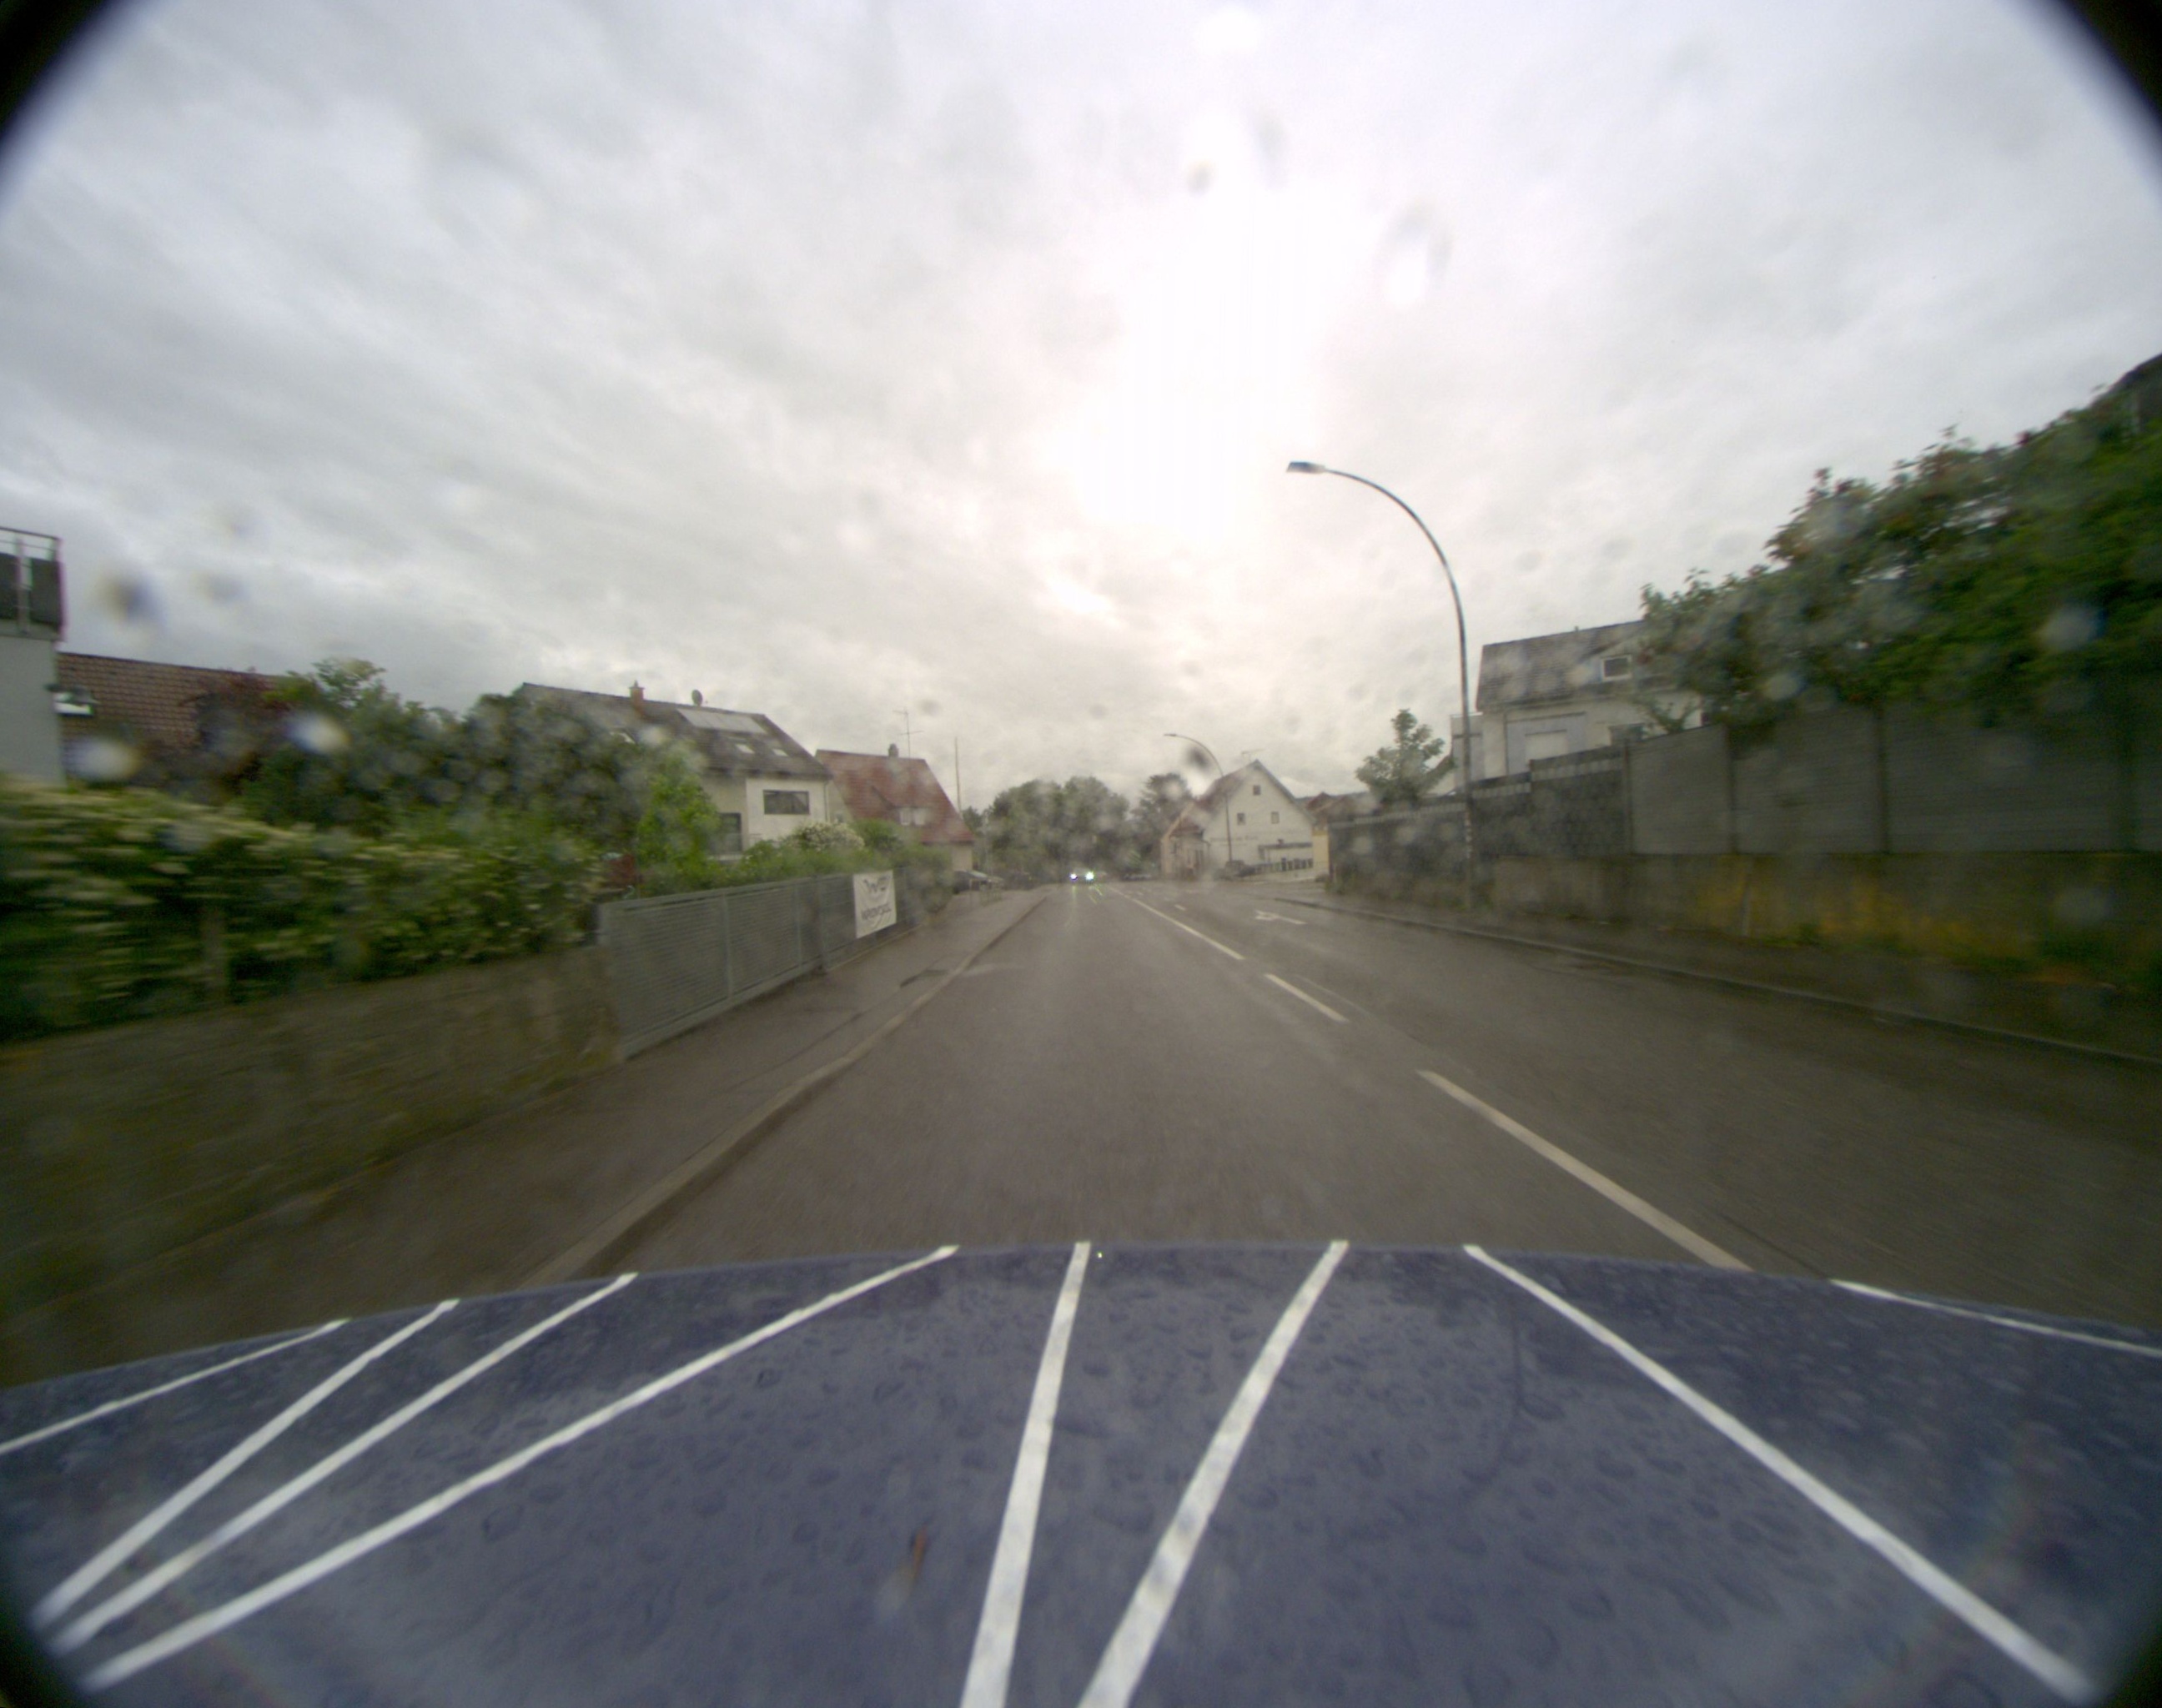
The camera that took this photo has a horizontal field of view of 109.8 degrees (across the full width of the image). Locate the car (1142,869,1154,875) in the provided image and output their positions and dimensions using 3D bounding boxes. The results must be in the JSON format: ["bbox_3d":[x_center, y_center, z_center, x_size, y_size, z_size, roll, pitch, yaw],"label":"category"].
[{"bbox_3d":[15.110,4.091,171.364,1.761,1.410,4.160,-1,-1,19],"label":"car"}]

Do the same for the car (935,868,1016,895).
[{"bbox_3d":[-6.634,1.698,47.657,4.563,1.375,2.003,-4,-2,20],"label":"car"}]

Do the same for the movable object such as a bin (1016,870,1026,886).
[{"bbox_3d":[-3.950,1.605,50.351,0.443,1.015,0.525,-1,-1,25],"label":"movable object such as a bin"}]

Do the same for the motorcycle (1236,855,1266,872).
[{"bbox_3d":[13.428,0.737,59.952,2.113,1.107,0.781,-6,0,17],"label":"motorcycle"}]

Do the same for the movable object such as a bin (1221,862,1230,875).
[{"bbox_3d":[11.979,1.195,63.068,0.639,1.026,0.605,-1,-1,14],"label":"movable object such as a bin"}]

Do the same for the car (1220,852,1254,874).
[{"bbox_3d":[11.866,0.680,57.654,1.904,1.433,3.834,-5,-2,19],"label":"car"}]

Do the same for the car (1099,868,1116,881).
[{"bbox_3d":[3.235,2.477,91.309,1.948,1.564,4.228,-2,-2,2],"label":"car"}]

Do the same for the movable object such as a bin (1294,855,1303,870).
[{"bbox_3d":[17.576,0.691,61.344,0.639,1.123,0.605,-4,-1,14],"label":"movable object such as a bin"}]

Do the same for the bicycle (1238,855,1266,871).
[{"bbox_3d":[13.652,0.722,60.680,2.101,1.107,0.738,-6,1,17],"label":"bicycle"}]

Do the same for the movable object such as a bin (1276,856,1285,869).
[{"bbox_3d":[16.206,0.708,61.766,0.639,1.026,0.605,-4,-1,13],"label":"movable object such as a bin"}]

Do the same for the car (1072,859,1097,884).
[{"bbox_3d":[0.297,1.505,66.077,1.999,2.001,4.000,-2,-1,-1],"label":"car"}]

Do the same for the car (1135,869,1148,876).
[{"bbox_3d":[13.264,4.004,166.354,1.761,1.410,4.160,-1,-1,21],"label":"car"}]

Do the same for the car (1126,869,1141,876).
[{"bbox_3d":[11.092,3.891,160.724,1.996,1.410,4.492,-1,-2,20],"label":"car"}]

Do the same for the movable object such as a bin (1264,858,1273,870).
[{"bbox_3d":[15.372,0.824,62.259,0.639,1.026,0.605,-1,-1,14],"label":"movable object such as a bin"}]

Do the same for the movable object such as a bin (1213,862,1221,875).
[{"bbox_3d":[11.317,1.226,63.246,0.639,1.026,0.674,-1,-1,14],"label":"movable object such as a bin"}]

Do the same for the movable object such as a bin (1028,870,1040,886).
[{"bbox_3d":[-3.147,1.576,50.402,0.530,1.015,0.734,-1,-1,19],"label":"movable object such as a bin"}]

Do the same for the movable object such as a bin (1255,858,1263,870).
[{"bbox_3d":[14.615,0.810,62.436,0.639,1.026,0.605,-1,-1,14],"label":"movable object such as a bin"}]

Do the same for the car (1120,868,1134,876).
[{"bbox_3d":[9.400,3.723,155.560,1.791,1.523,3.806,-1,-1,20],"label":"car"}]

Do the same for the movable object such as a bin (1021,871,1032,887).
[{"bbox_3d":[-3.508,1.620,48.881,0.628,1.015,0.541,-1,-1,5],"label":"movable object such as a bin"}]
